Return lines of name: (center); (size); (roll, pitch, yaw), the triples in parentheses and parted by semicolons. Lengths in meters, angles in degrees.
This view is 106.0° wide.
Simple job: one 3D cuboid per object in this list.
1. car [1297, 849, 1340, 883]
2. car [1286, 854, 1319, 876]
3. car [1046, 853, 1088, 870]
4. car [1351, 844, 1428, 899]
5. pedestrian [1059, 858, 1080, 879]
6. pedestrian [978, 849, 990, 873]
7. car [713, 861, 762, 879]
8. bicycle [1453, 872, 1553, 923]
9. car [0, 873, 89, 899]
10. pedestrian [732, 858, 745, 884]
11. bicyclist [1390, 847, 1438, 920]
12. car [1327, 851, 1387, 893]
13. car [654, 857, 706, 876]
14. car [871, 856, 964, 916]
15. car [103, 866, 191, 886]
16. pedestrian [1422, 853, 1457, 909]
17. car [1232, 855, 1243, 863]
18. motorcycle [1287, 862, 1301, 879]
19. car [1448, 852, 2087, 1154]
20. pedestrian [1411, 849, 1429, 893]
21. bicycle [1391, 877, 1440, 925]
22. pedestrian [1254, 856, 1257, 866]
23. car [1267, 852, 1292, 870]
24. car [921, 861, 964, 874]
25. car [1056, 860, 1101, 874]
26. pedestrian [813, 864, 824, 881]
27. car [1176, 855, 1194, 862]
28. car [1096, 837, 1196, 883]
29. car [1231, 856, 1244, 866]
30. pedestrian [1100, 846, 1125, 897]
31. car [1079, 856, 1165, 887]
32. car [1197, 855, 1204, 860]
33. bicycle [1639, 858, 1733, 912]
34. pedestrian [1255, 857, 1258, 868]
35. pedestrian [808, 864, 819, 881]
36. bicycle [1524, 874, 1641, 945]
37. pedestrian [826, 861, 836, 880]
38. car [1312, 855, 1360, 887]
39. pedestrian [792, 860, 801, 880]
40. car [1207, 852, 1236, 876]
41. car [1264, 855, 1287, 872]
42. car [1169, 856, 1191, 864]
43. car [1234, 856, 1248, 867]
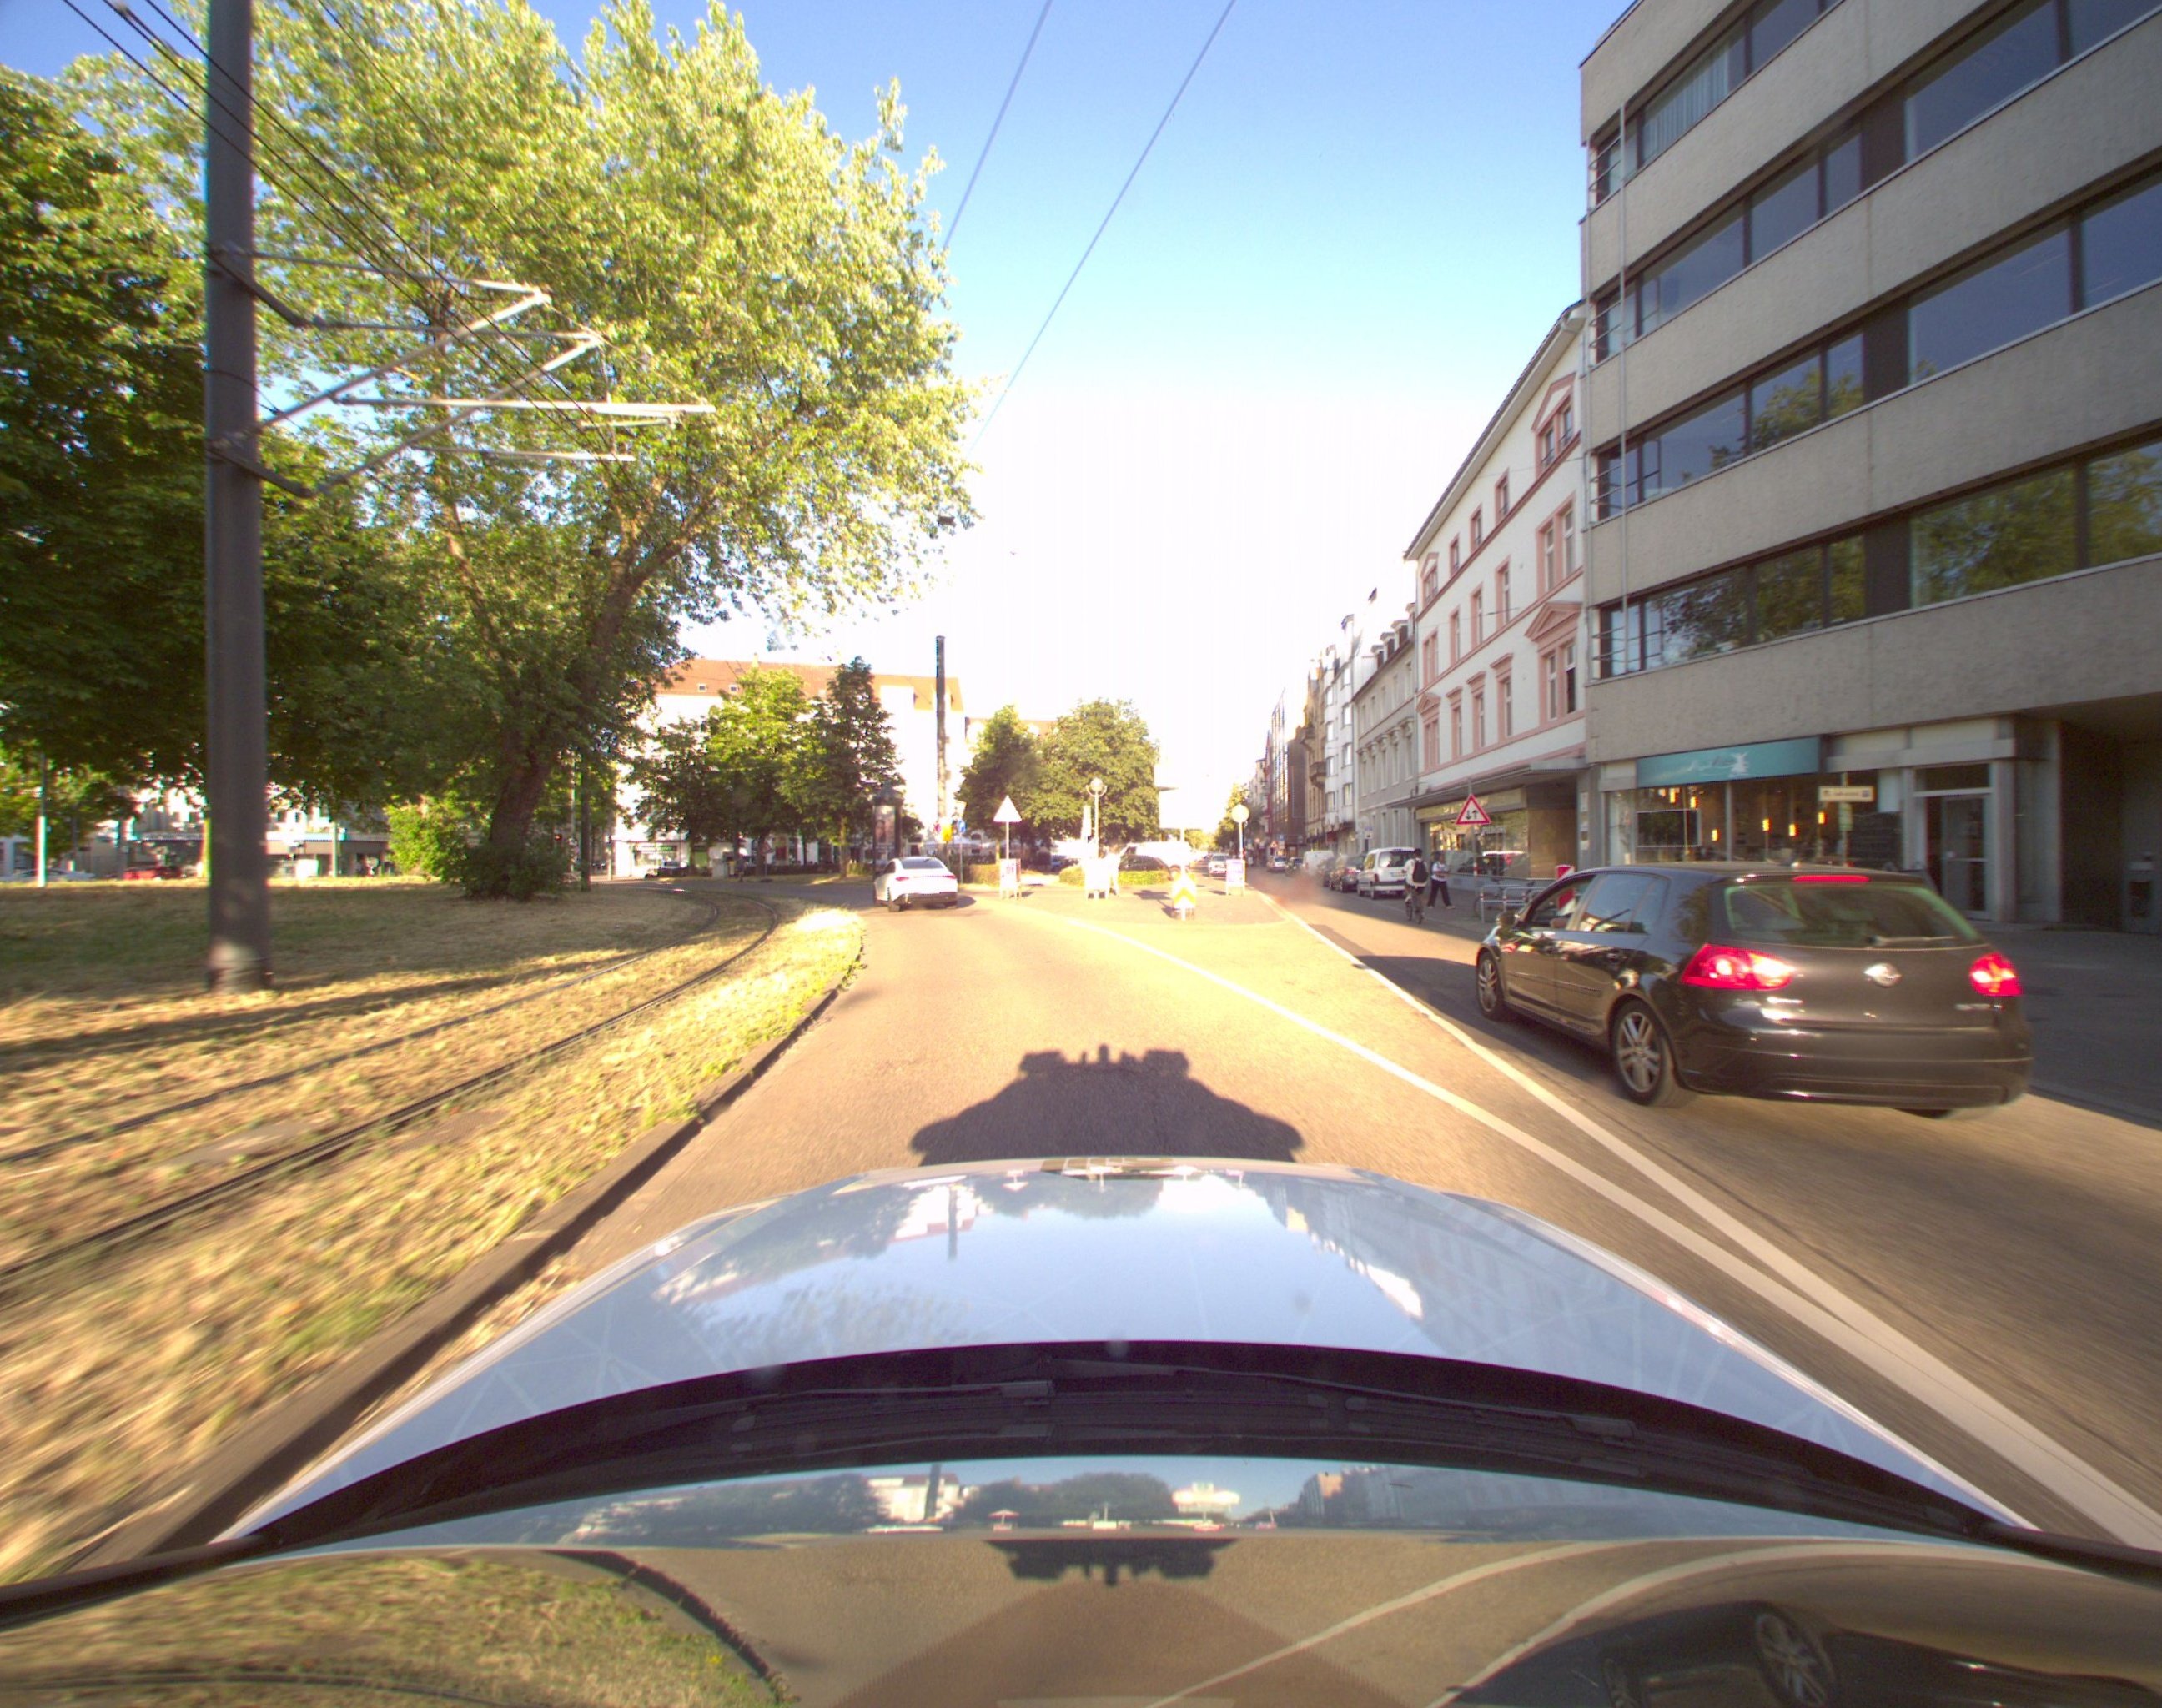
car: (13.720, 0.679, 47.275); (1.913, 1.841, 4.028); (-2, -1, 9)
car: (16.151, 0.798, 59.592); (1.742, 1.511, 3.983); (-2, -1, 7)
car: (-1.440, 0.762, 83.944); (3.993, 1.782, 1.843); (0, -1, -15)
car: (11.040, 0.619, 29.392); (1.725, 1.800, 3.925); (-2, -1, 8)
pedestrian: (-0.691, 0.856, 49.161); (1.100, 1.226, 0.855); (1, 0, -18)
pedestrian: (-8.065, 0.580, 67.702); (0.931, 1.923, 0.856); (0, -1, -5)
car: (-29.386, 1.365, 69.719); (3.618, 1.552, 1.654); (0, -1, -15)
bicycle: (9.303, 0.962, 17.985); (1.829, 1.045, 0.584); (-3, 0, 38)
car: (-62.988, 1.886, 48.910); (1.575, 1.463, 3.971); (0, 0, 16)
pedestrian: (-21.104, 1.060, 50.130); (0.564, 1.566, 0.587); (1, -1, -40)
bicyclist: (7.675, 0.669, 18.800); (0.773, 1.618, 1.027); (1, 0, 7)
car: (11.717, 0.747, 34.786); (1.725, 1.617, 3.925); (-2, -1, 8)
car: (-33.785, 1.075, 68.745); (3.618, 1.552, 1.654); (0, -1, -15)
car: (-4.735, 0.817, 23.156); (1.872, 1.441, 4.167); (-3, 1, -21)
car: (-72.447, 1.708, 63.218); (3.994, 1.464, 1.990); (0, -1, -15)
pedestrian: (10.128, 0.764, 23.048); (0.629, 1.555, 0.737); (0, -1, -5)
car: (29.126, 0.935, 152.065); (1.742, 1.511, 3.552); (-2, -1, 7)
motorcycle: (14.743, 1.134, 56.411); (0.485, 1.174, 1.607); (-3, 0, 1)
car: (4.295, 0.727, 6.094); (1.738, 1.461, 4.112); (0, 0, 8)
pedestrian: (12.590, 0.624, 30.252); (0.499, 1.625, 0.498); (1, 0, 8)
bicycle: (7.707, 1.055, 18.834); (0.575, 0.987, 1.940); (1, 0, 8)
pedestrian: (32.833, 1.270, 153.503); (0.528, 1.923, 0.543); (0, -1, 7)
car: (17.784, 0.597, 73.127); (1.742, 1.511, 3.552); (-2, -1, 7)
car: (-13.430, 1.301, 79.006); (3.993, 1.301, 1.843); (0, -1, -15)
car: (-0.268, 1.253, 78.801); (3.993, 1.301, 1.843); (0, -1, -15)
pedestrian: (-21.314, 1.469, 66.120); (0.665, 1.352, 0.659); (0, -1, -4)
car: (21.502, 0.915, 167.694); (3.375, 1.287, 1.668); (1, 0, -7)
car: (3.809, 0.351, 48.136); (5.526, 2.595, 2.141); (0, -1, -18)
car: (25.373, 1.146, 132.220); (1.742, 1.511, 3.552); (-2, -1, 7)
pedestrian: (1.100, 0.598, 28.264); (0.856, 1.706, 0.942); (0, -1, 2)
car: (2.078, 0.869, 41.524); (4.006, 1.552, 1.863); (0, -1, -25)
car: (31.419, 1.031, 214.580); (1.657, 1.287, 3.398); (1, 0, 10)
bicycle: (13.257, 0.685, 17.877); (0.517, 1.119, 1.507); (-3, -1, -35)
pedestrian: (31.000, 1.559, 143.695); (0.528, 1.923, 0.543); (0, -1, 7)
pedestrian: (-21.366, 1.465, 65.120); (0.665, 1.352, 0.659); (0, -1, -4)
bicycle: (8.562, 0.935, 13.935); (1.586, 1.119, 0.616); (-3, 0, 42)
pedestrian: (-19.023, 1.257, 61.935); (0.533, 1.497, 0.659); (0, -1, -4)
car: (12.741, 0.840, 40.906); (1.725, 1.462, 3.593); (-2, -1, 8)
pedestrian: (-21.623, 1.223, 61.910); (0.533, 1.497, 0.659); (0, -1, -4)
car: (10.580, 0.736, 61.489); (1.983, 1.772, 4.008); (0, 0, 7)
car: (18.367, 0.926, 77.019); (1.742, 1.511, 3.552); (-2, -1, 7)
car: (16.640, 1.061, 137.528); (3.375, 1.287, 1.668); (1, 0, -7)
car: (23.521, 1.078, 119.925); (1.742, 1.511, 3.552); (-2, -1, 7)
